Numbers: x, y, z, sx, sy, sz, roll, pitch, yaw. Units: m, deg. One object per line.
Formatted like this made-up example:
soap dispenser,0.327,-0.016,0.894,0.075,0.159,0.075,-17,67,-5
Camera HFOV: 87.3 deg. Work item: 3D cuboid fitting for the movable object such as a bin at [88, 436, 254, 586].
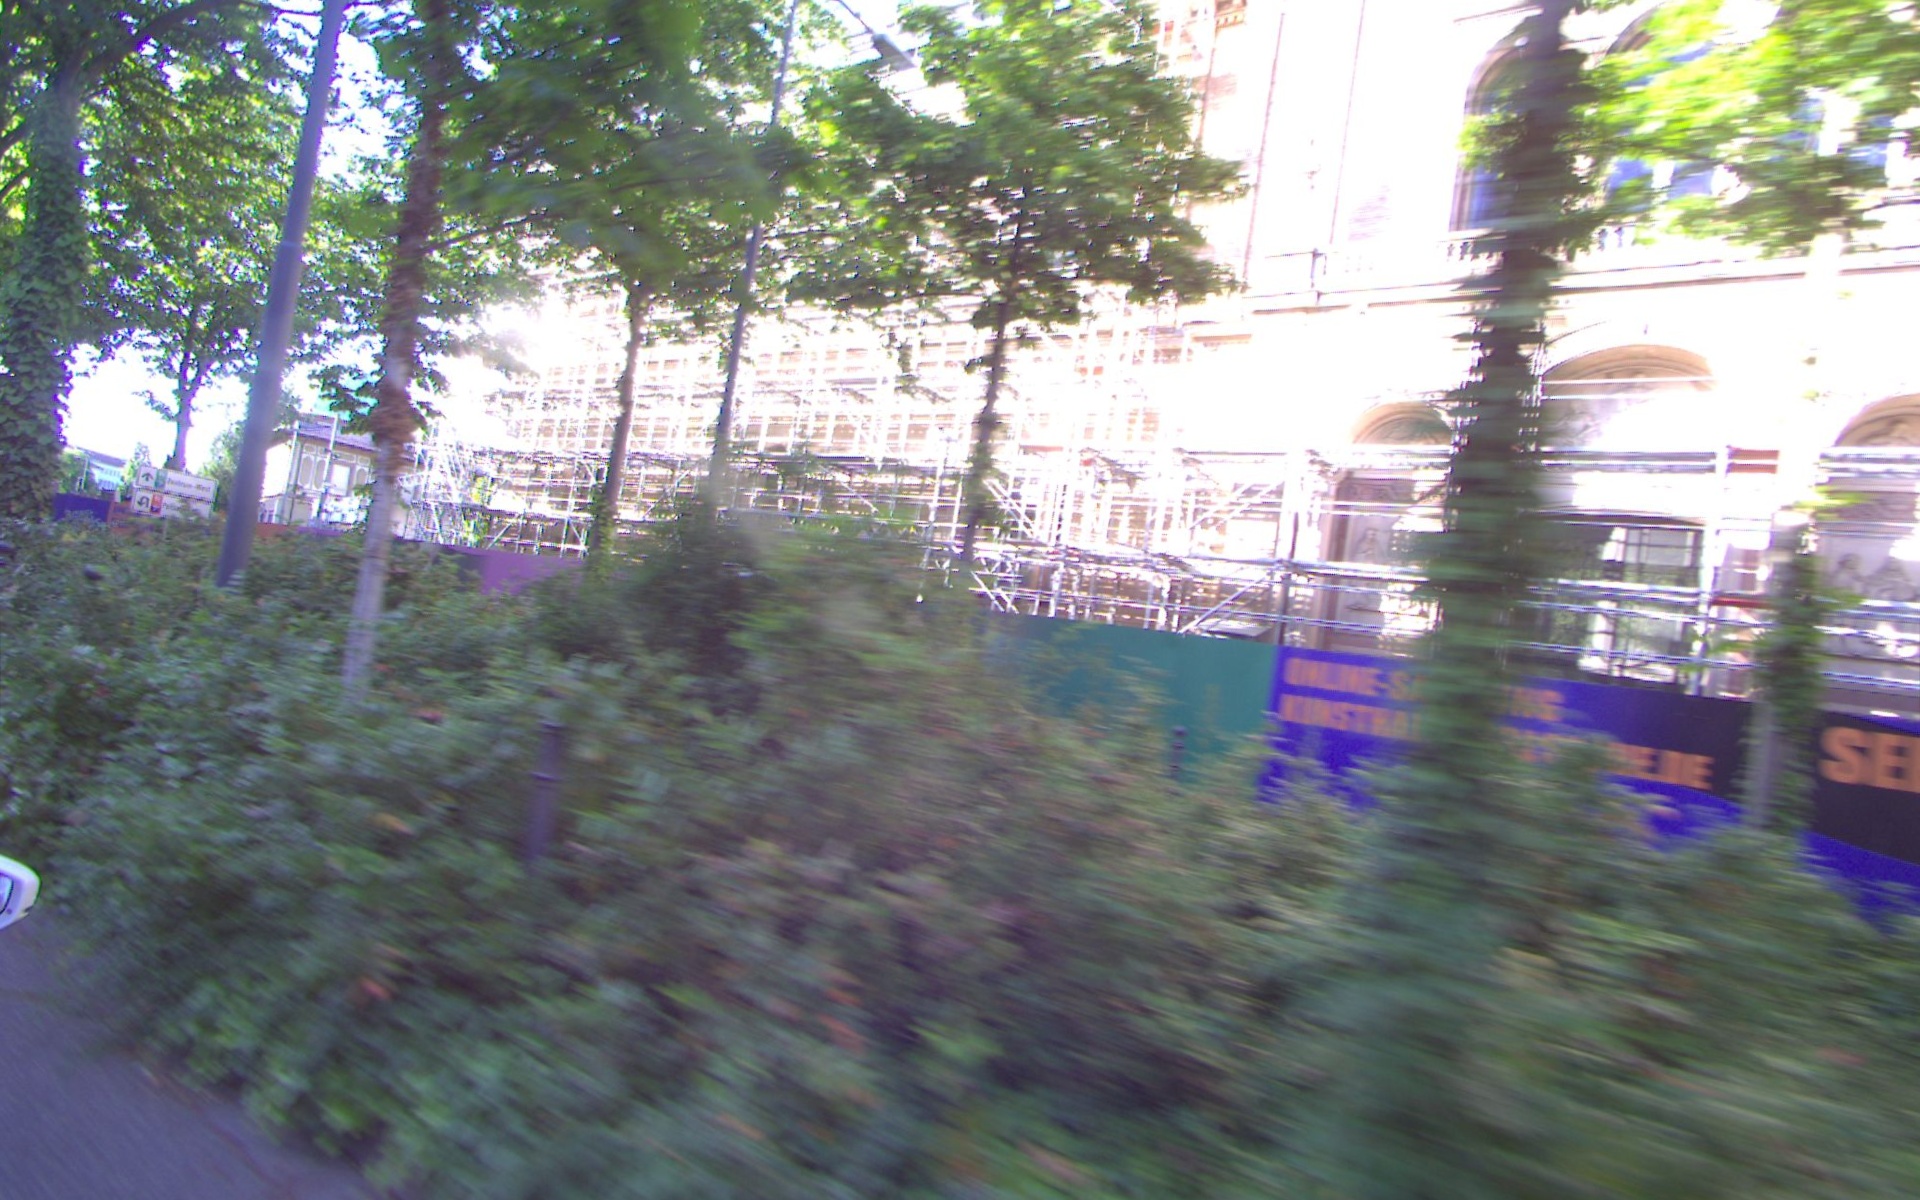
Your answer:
movable object such as a bin,-29.688,-3.281,37.699,7.800,4.589,3.304,6,-3,43
